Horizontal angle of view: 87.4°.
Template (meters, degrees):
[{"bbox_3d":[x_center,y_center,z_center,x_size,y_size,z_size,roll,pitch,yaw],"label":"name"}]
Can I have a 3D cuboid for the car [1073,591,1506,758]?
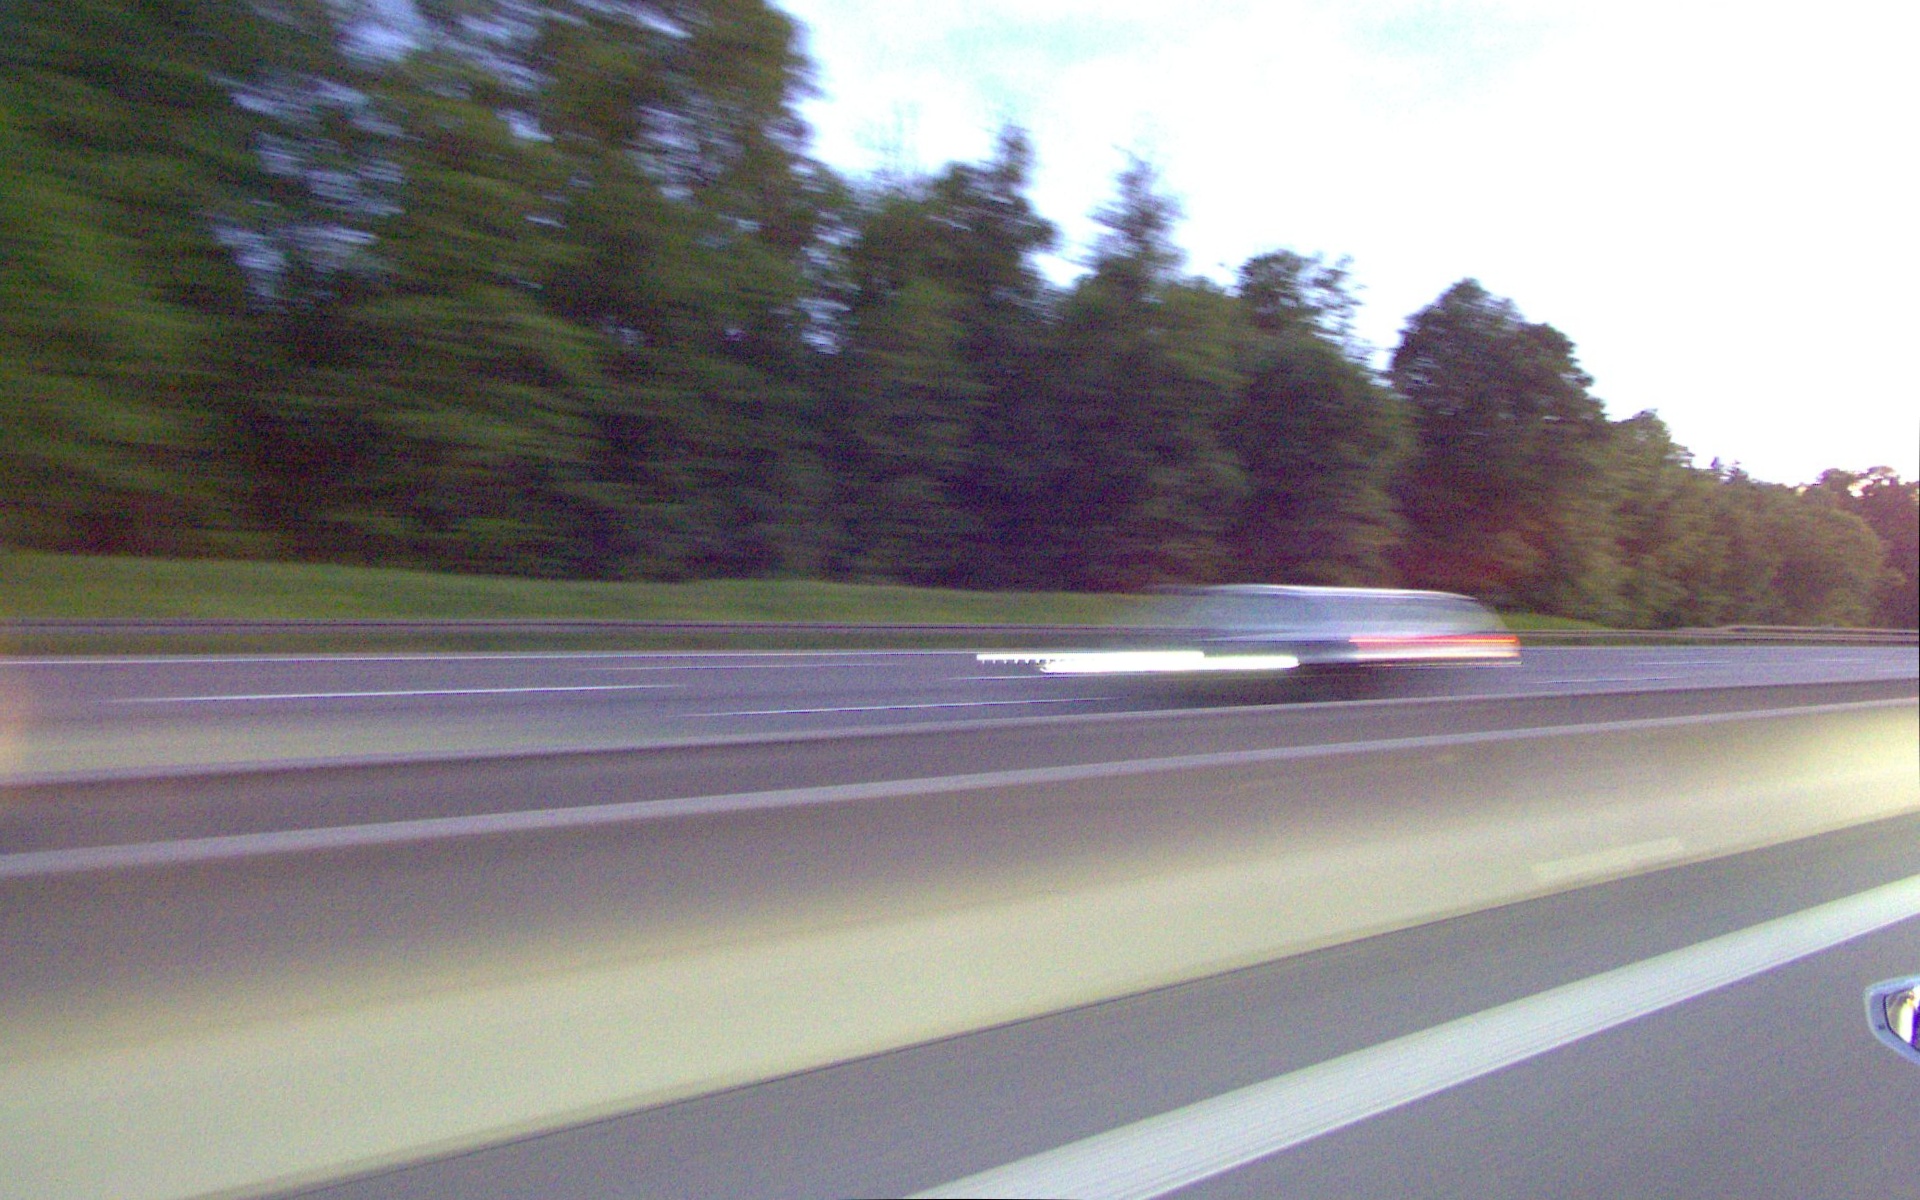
[{"bbox_3d":[4.022,0.792,12.068,5.046,1.660,1.986,1,0,-28],"label":"car"}]
